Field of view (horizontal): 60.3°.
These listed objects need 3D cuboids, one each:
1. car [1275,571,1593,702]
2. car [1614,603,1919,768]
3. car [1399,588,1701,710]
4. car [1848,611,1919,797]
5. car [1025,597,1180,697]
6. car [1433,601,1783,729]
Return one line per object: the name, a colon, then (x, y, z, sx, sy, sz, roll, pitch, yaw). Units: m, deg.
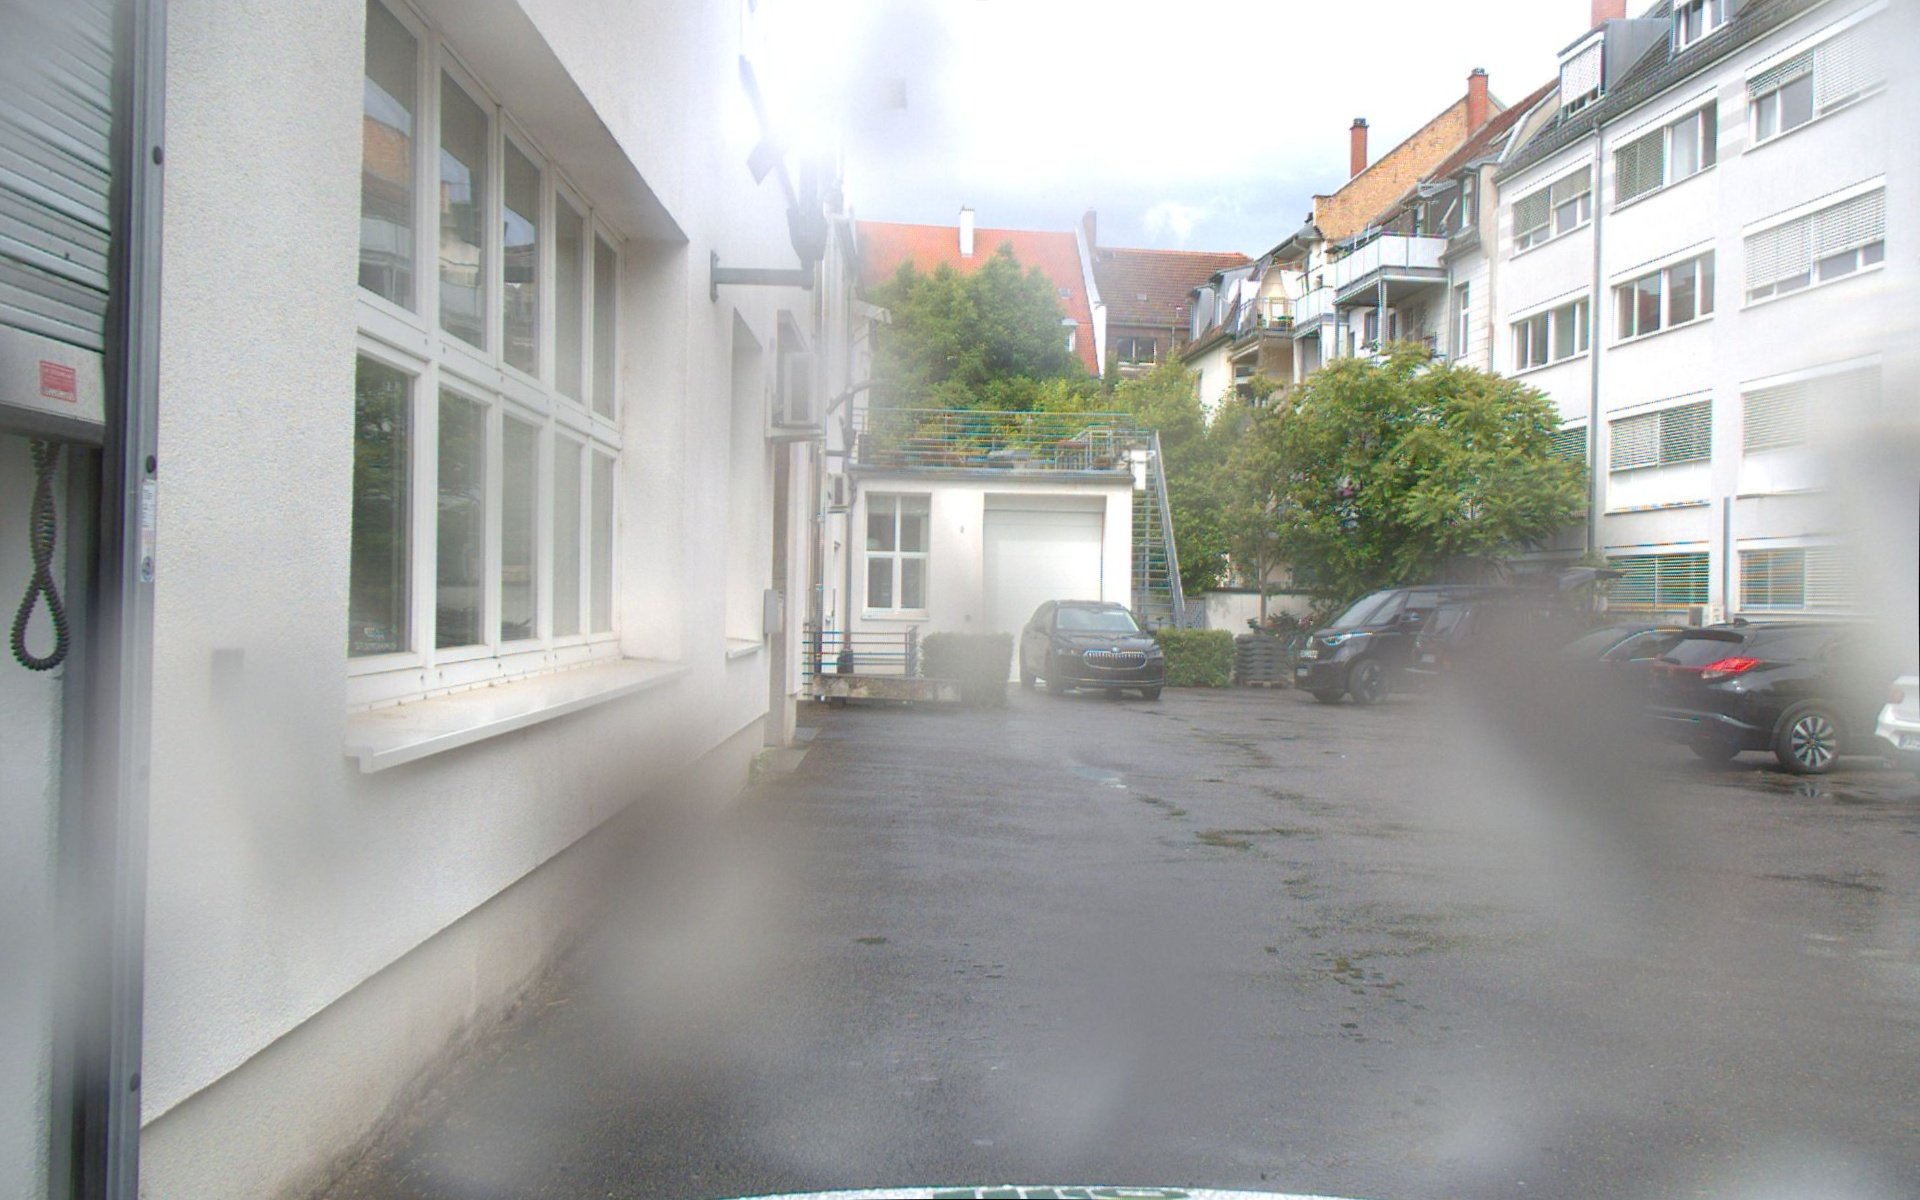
car: (7.758, 0.546, 27.265, 4.553, 2.038, 2.219, 0, 1, -12)
car: (8.910, 0.809, 16.786, 3.836, 1.540, 1.816, 0, 0, -9)
car: (8.691, 0.704, 24.579, 3.831, 1.717, 1.816, 0, -1, -3)
car: (9.607, 0.828, 13.458, 3.911, 1.484, 1.770, 0, 0, -7)
car: (2.221, 0.703, 26.811, 1.940, 1.469, 3.997, 1, 0, -3)
car: (8.270, 0.800, 21.285, 3.834, 1.540, 1.749, 0, 0, -7)
